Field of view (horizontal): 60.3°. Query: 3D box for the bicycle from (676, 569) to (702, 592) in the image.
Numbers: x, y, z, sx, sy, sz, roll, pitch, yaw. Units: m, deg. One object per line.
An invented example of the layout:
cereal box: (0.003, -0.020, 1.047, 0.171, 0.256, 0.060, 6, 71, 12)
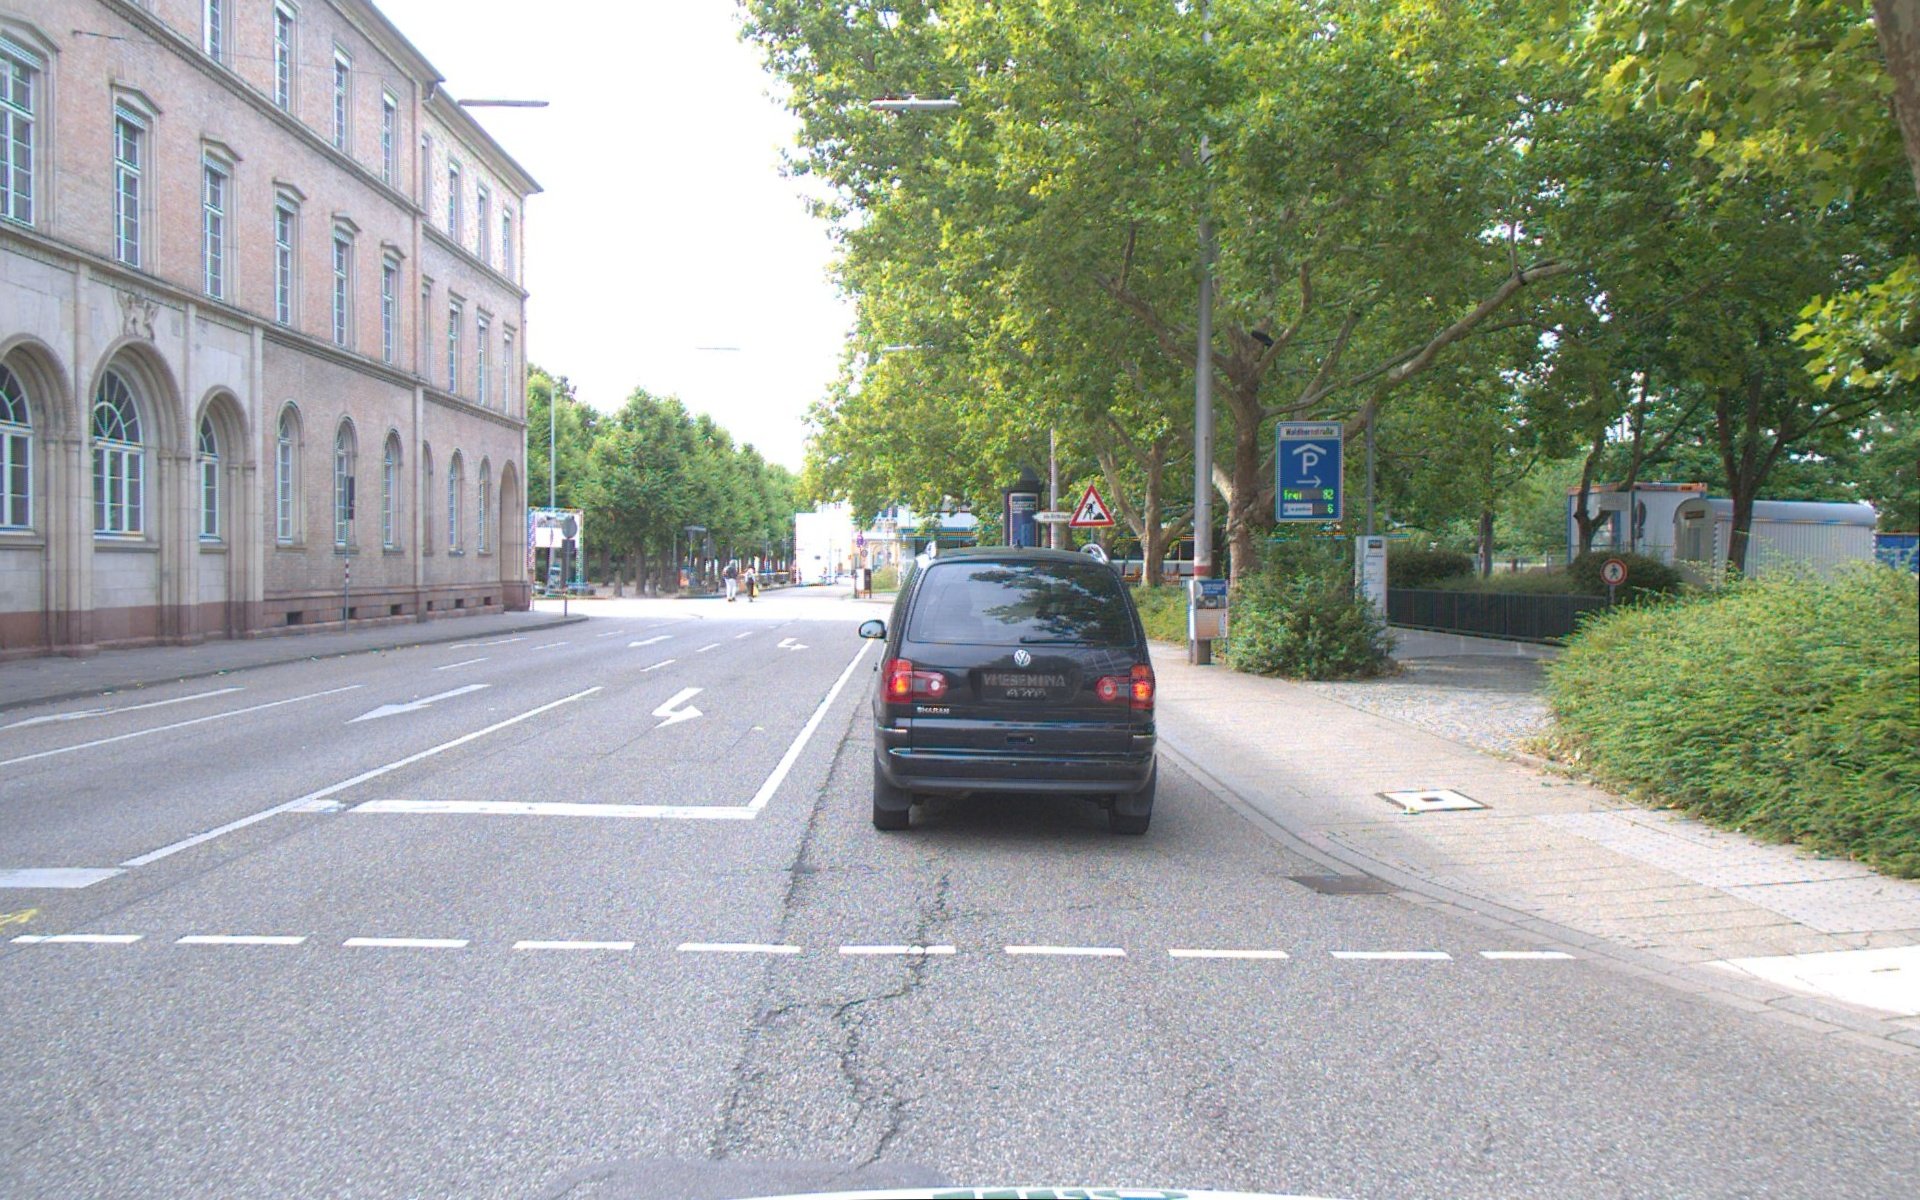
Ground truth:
bicycle: (-14.499, -1.034, 88.524, 0.937, 1.129, 2.566, 1, 1, -19)

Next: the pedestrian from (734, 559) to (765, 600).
pedestrian: (-8.711, -0.843, 68.491, 0.880, 1.670, 0.850, 2, 1, 34)

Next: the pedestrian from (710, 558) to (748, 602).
pedestrian: (-9.586, -0.825, 68.666, 0.944, 1.772, 1.250, 3, 1, 37)

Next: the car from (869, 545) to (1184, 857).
car: (0.308, 0.510, 11.288, 1.757, 1.738, 4.130, 0, 1, -2)
